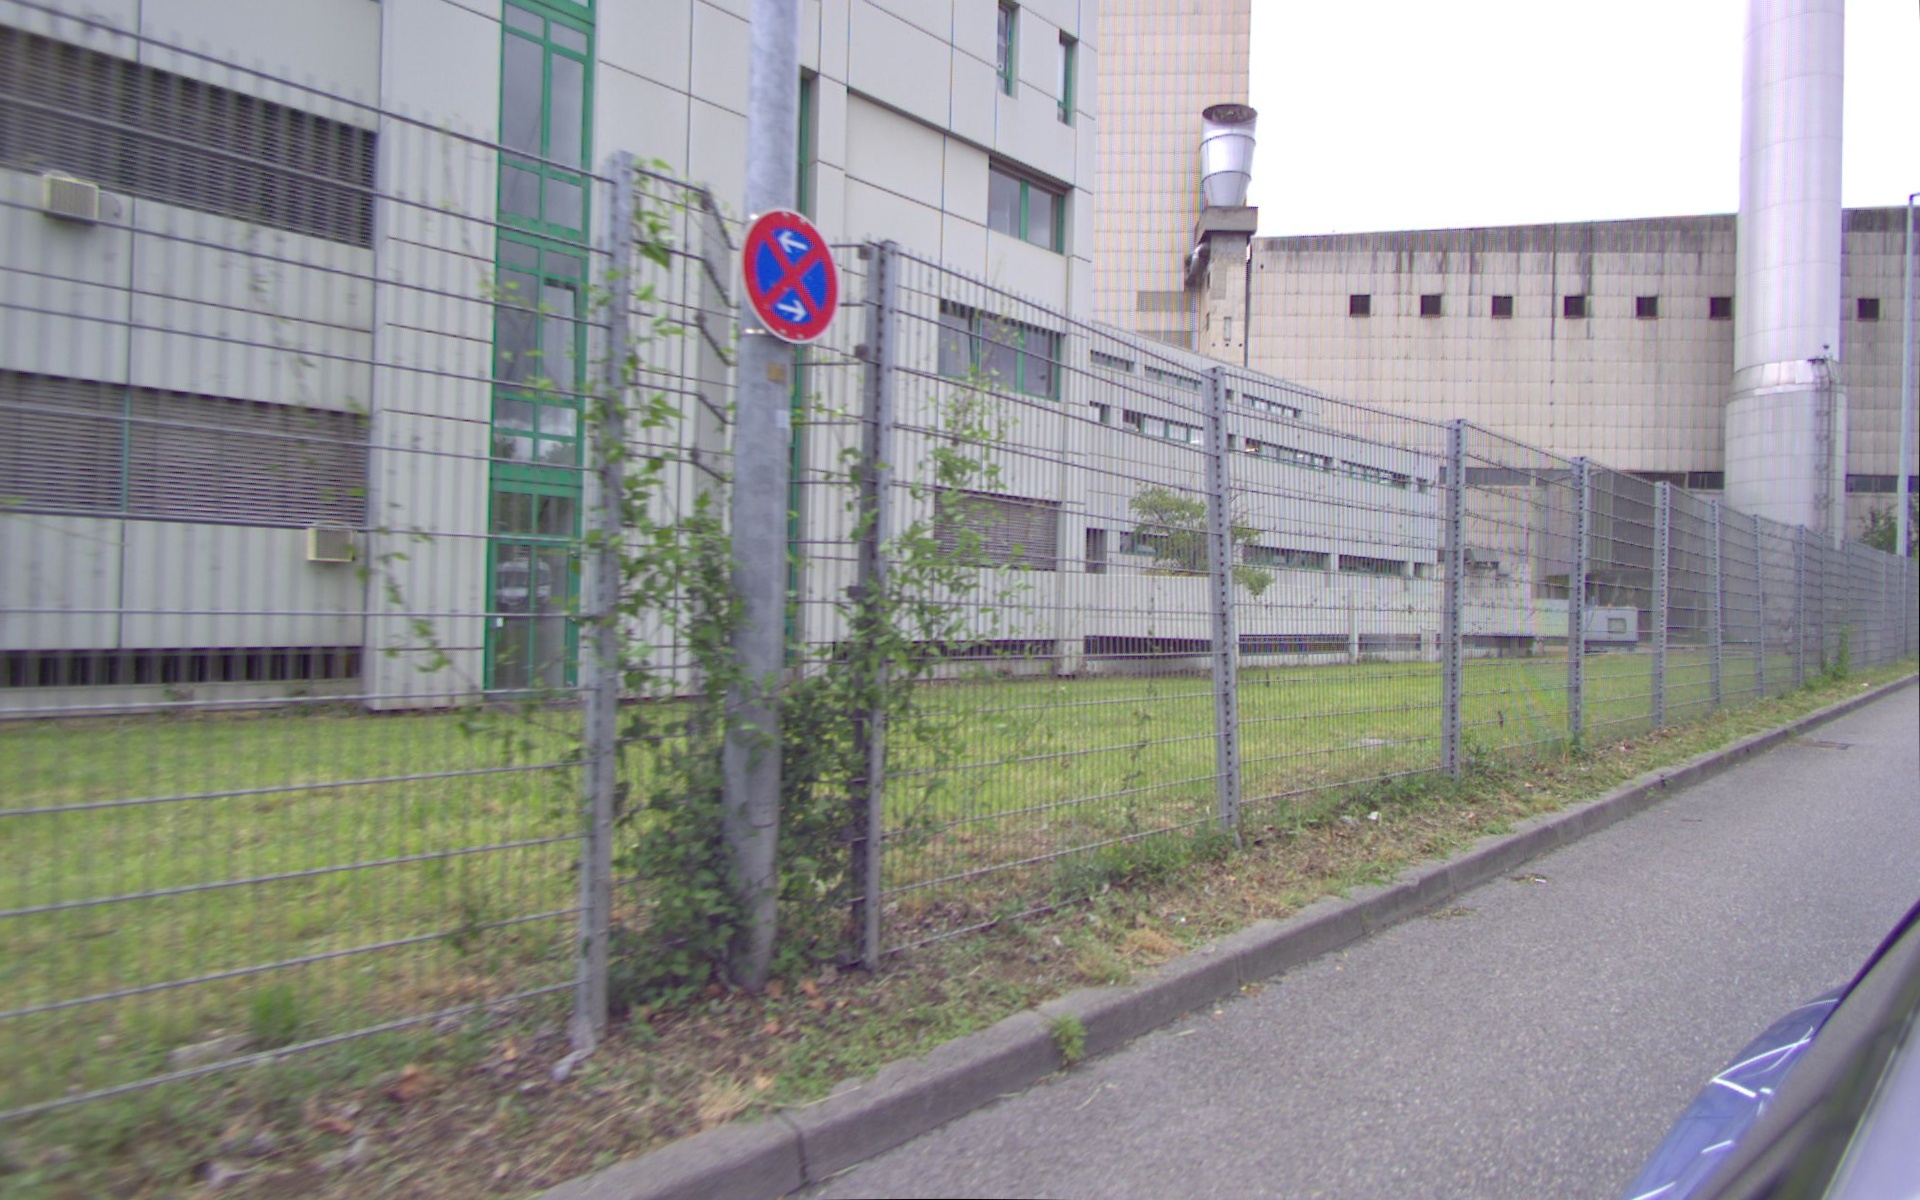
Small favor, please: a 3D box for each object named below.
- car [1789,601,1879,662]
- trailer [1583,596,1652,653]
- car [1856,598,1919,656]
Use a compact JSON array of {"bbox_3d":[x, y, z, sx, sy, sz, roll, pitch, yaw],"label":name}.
[{"bbox_3d":[42.595,1.580,49.475,2.408,2.798,5.391,0,-3,31],"label":"car"},{"bbox_3d":[32.162,1.176,49.451,2.646,2.576,6.352,0,-1,34],"label":"trailer"},{"bbox_3d":[45.415,1.362,48.886,2.220,2.581,5.132,0,-3,31],"label":"car"}]
